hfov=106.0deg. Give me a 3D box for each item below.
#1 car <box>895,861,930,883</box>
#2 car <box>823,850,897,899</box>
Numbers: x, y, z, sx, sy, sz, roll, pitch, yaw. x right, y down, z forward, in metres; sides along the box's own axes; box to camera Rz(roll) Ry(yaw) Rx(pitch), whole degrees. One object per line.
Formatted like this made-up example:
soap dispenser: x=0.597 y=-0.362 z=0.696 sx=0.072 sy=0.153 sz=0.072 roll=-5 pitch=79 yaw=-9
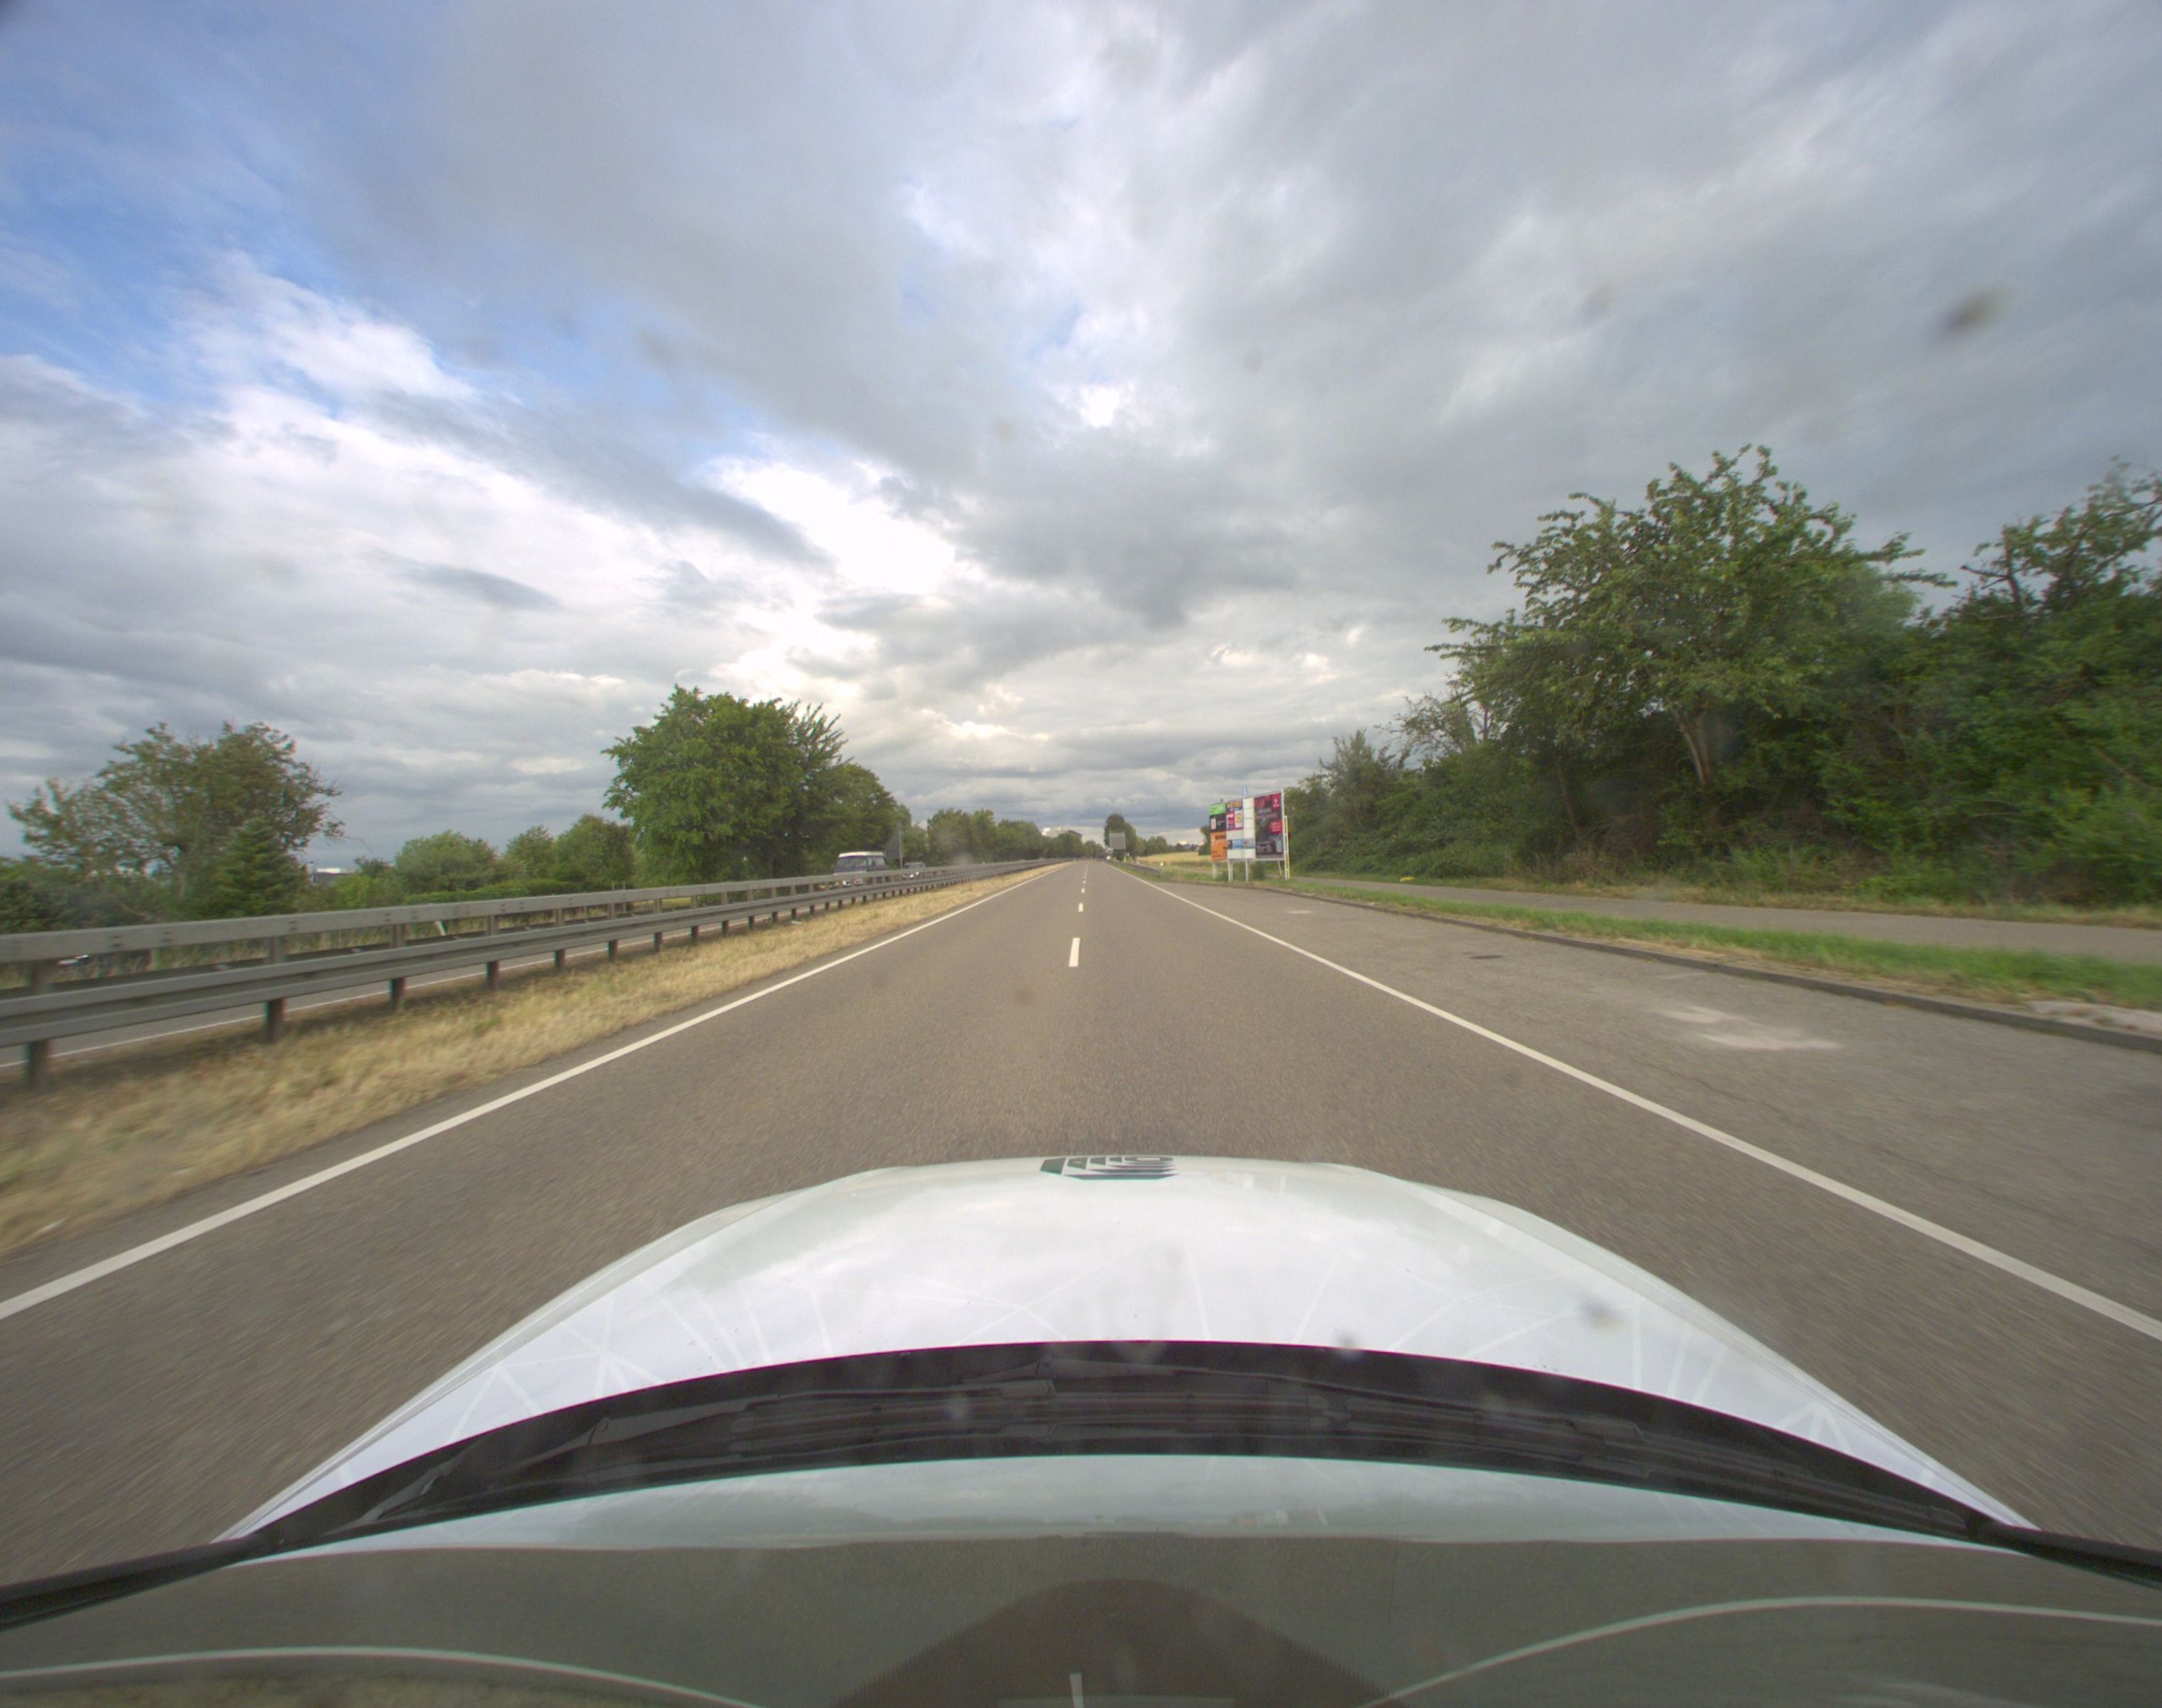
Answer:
car: x=-14.159 y=1.505 z=68.551 sx=1.791 sy=1.625 sz=4.485 roll=-3 pitch=0 yaw=2
car: x=-10.893 y=0.958 z=40.621 sx=1.986 sy=2.140 sz=5.321 roll=-3 pitch=0 yaw=2
